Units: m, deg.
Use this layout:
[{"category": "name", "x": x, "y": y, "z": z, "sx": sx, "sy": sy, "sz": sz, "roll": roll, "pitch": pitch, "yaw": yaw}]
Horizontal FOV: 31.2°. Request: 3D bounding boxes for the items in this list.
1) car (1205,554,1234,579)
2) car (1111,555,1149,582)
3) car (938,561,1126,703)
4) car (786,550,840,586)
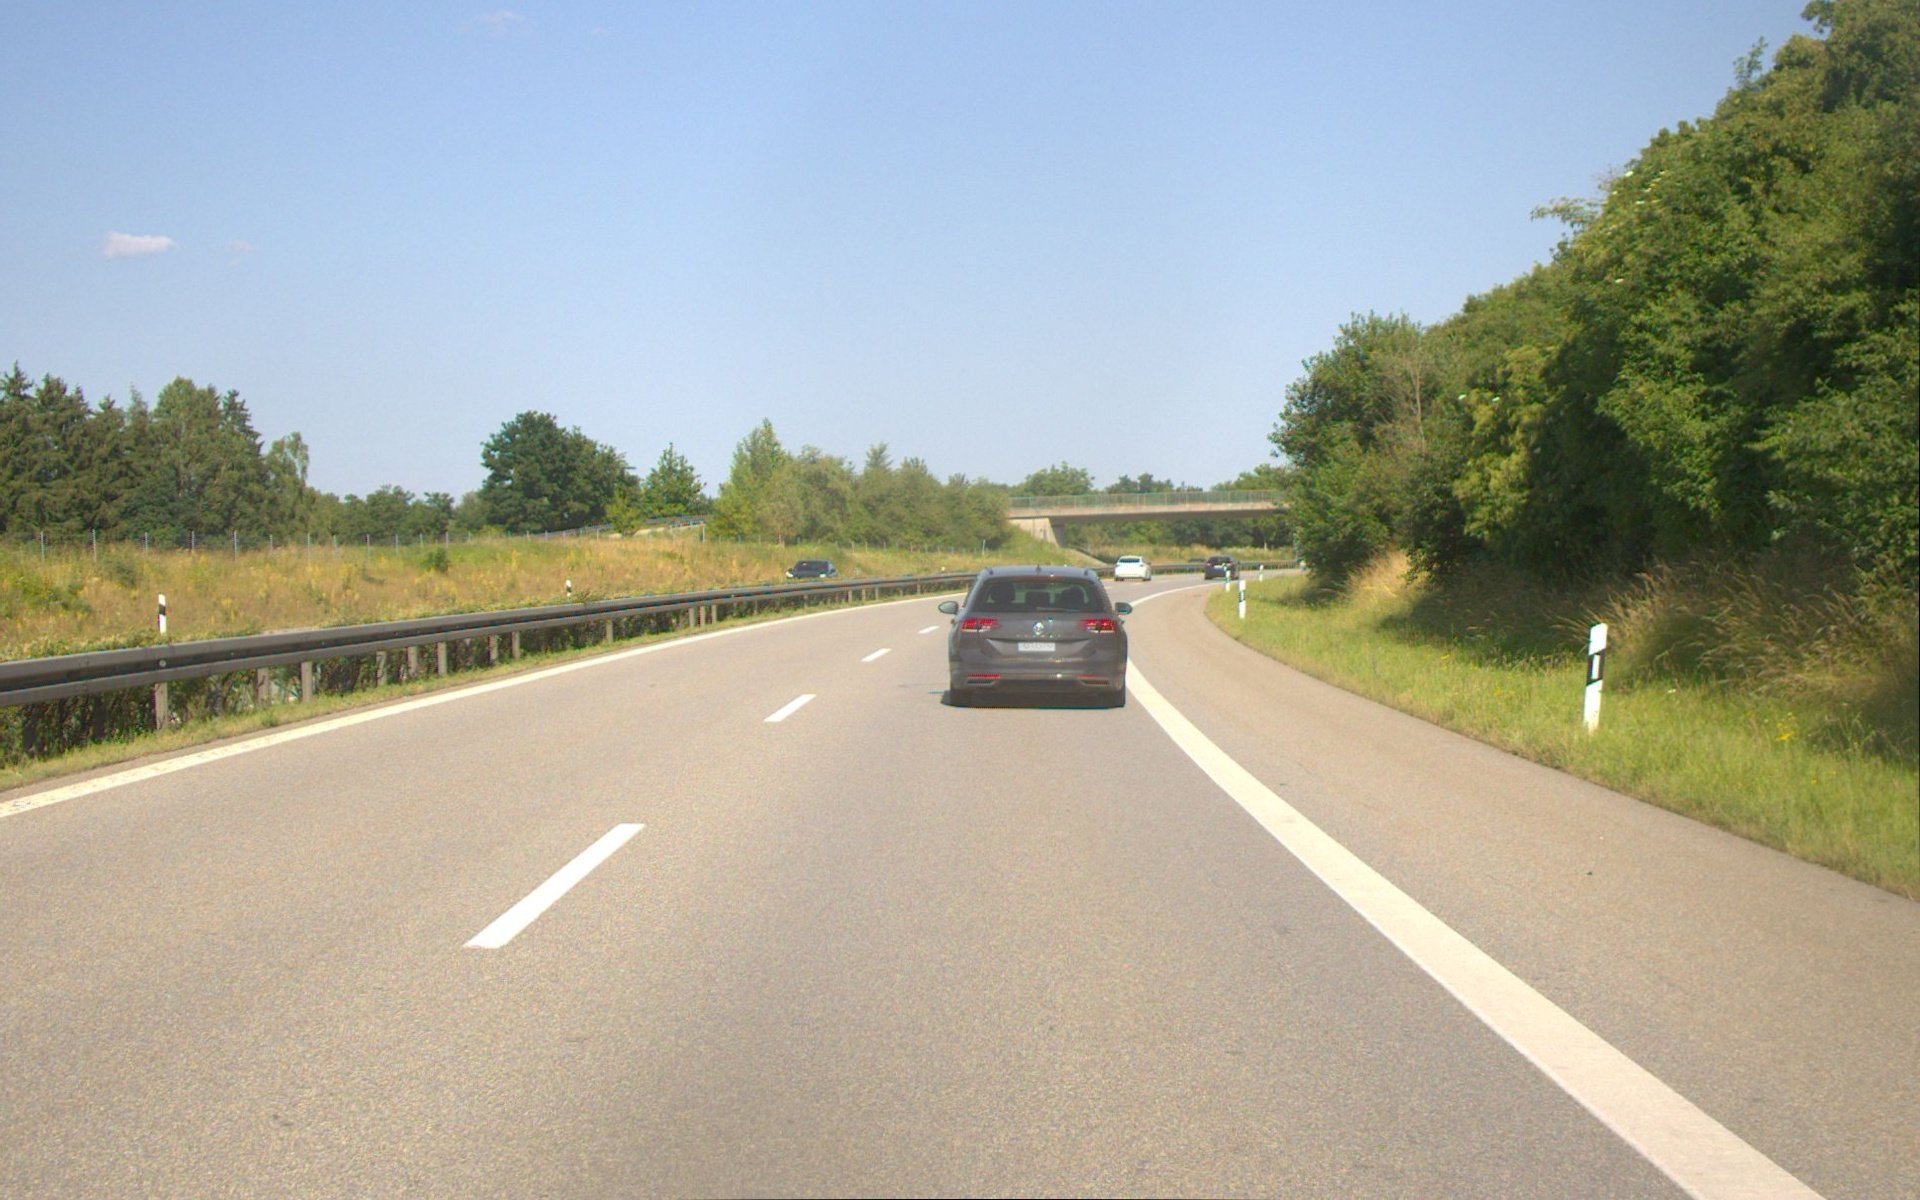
[{"category": "car", "x": 15.614, "y": -2.029, "z": 206.946, "sx": 1.711, "sy": 1.382, "sz": 3.354, "roll": 2, "pitch": -1, "yaw": 5}, {"category": "car", "x": 9.528, "y": -1.768, "z": 193.110, "sx": 2.007, "sy": 1.340, "sz": 4.000, "roll": 2, "pitch": -1, "yaw": 2}, {"category": "car", "x": 0.792, "y": 0.326, "z": 35.478, "sx": 1.791, "sy": 1.340, "sz": 3.999, "roll": 2, "pitch": 0, "yaw": 3}, {"category": "car", "x": -6.672, "y": -1.468, "z": 156.449, "sx": 1.832, "sy": 1.547, "sz": 4.465, "roll": 0, "pitch": 2, "yaw": 5}]
